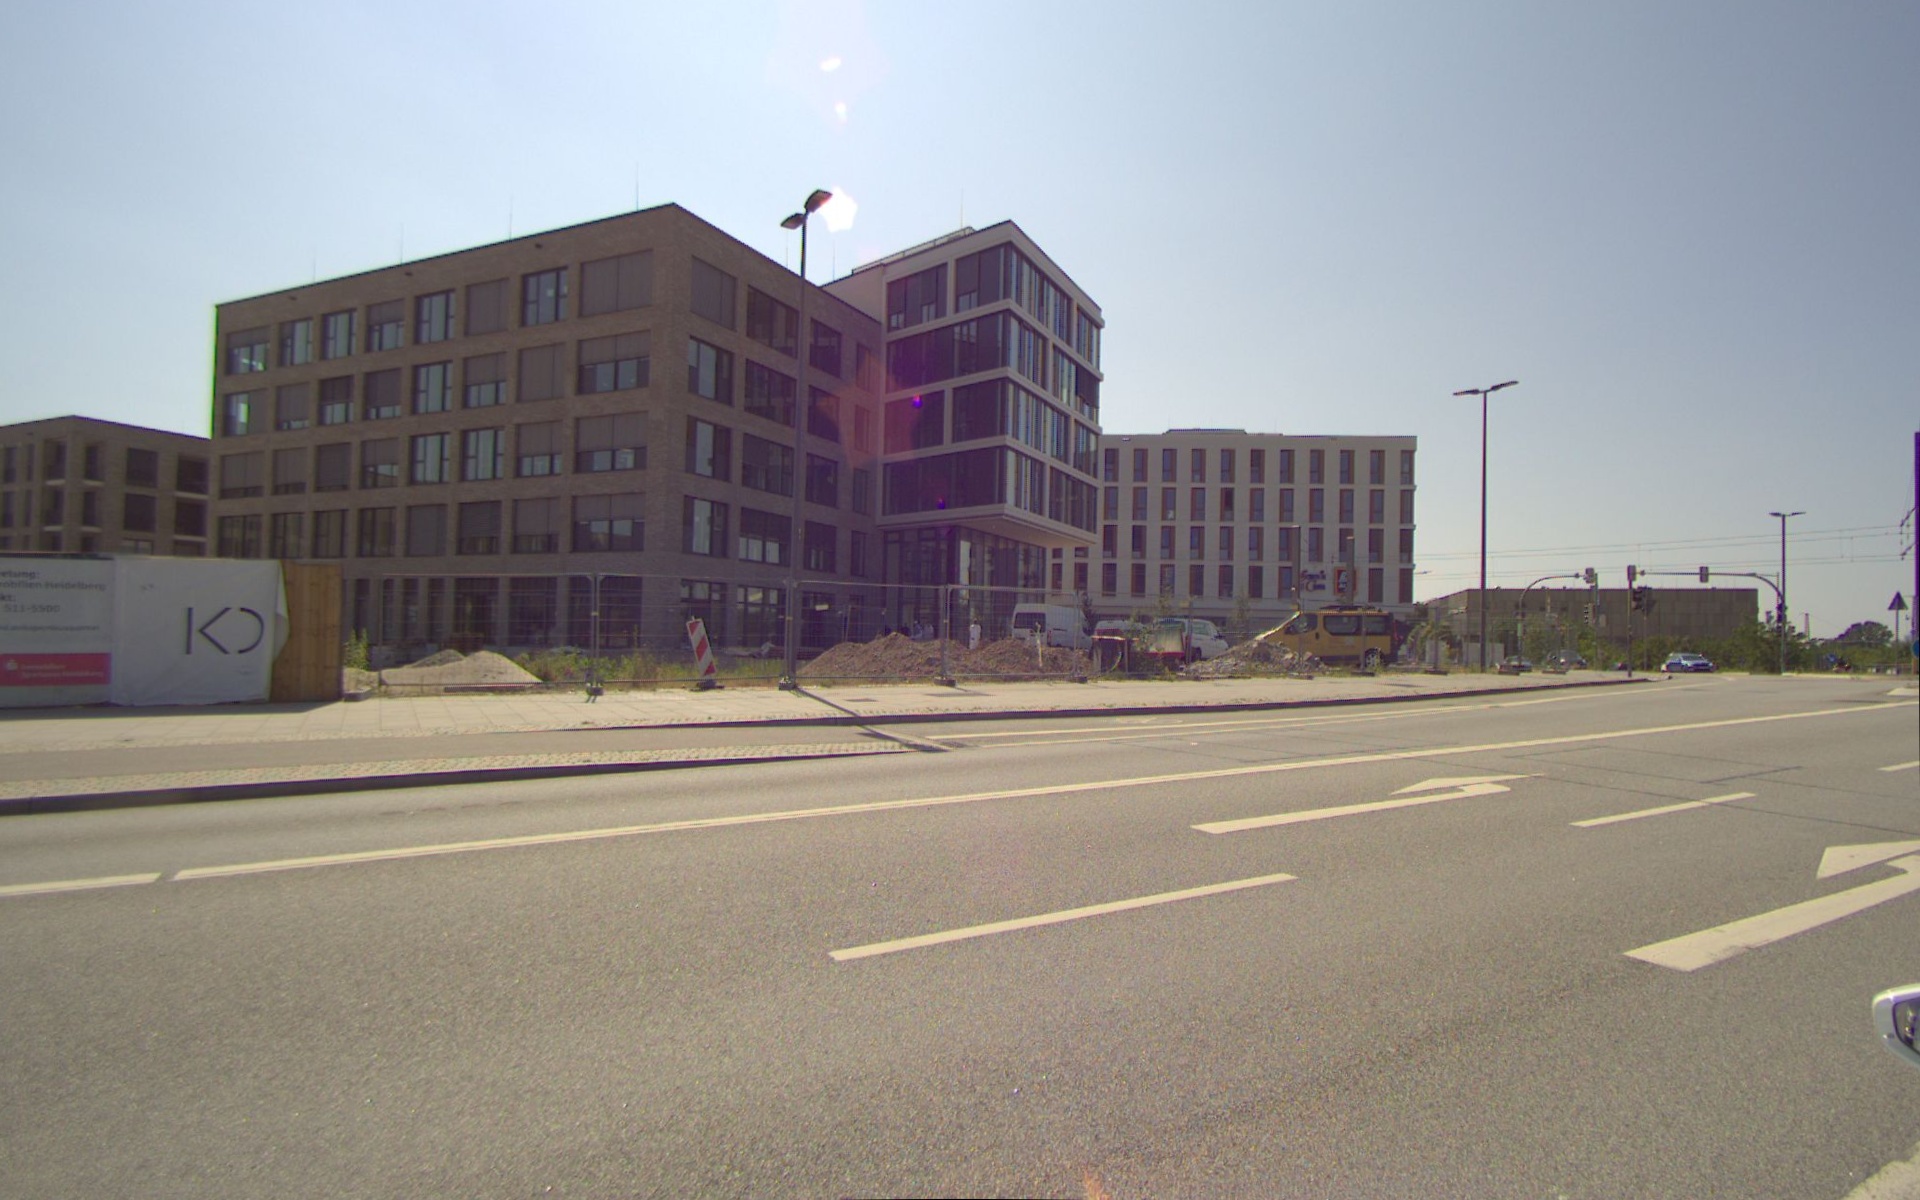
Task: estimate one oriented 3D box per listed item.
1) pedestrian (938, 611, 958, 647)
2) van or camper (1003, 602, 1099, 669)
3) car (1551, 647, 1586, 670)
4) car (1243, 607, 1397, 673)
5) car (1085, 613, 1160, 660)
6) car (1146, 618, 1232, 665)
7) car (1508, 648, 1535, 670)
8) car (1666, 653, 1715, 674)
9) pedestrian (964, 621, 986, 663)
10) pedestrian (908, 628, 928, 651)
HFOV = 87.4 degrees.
[{"bbox_3d":[-0.580,1.411,48.878,0.734,1.741,0.699,2,0,16],"label":"pedestrian"},{"bbox_3d":[4.153,1.549,45.120,2.273,2.772,4.975,2,0,32],"label":"van or camper"},{"bbox_3d":[44.319,4.239,73.202,1.646,1.496,3.405,0,-1,22],"label":"car"},{"bbox_3d":[11.978,1.290,33.732,4.533,1.988,1.991,2,0,9],"label":"car"},{"bbox_3d":[7.120,1.546,43.676,1.760,1.881,3.840,2,0,34],"label":"car"},{"bbox_3d":[9.658,1.686,42.169,1.841,1.797,4.637,2,0,36],"label":"car"},{"bbox_3d":[46.195,4.843,82.718,1.541,1.608,3.477,2,0,23],"label":"car"},{"bbox_3d":[52.246,4.529,71.913,1.787,1.348,4.000,2,-2,20],"label":"car"},{"bbox_3d":[0.640,1.770,42.438,0.734,1.741,0.699,2,0,16],"label":"pedestrian"},{"bbox_3d":[-1.970,1.847,47.570,0.734,1.041,0.699,2,0,16],"label":"pedestrian"}]
